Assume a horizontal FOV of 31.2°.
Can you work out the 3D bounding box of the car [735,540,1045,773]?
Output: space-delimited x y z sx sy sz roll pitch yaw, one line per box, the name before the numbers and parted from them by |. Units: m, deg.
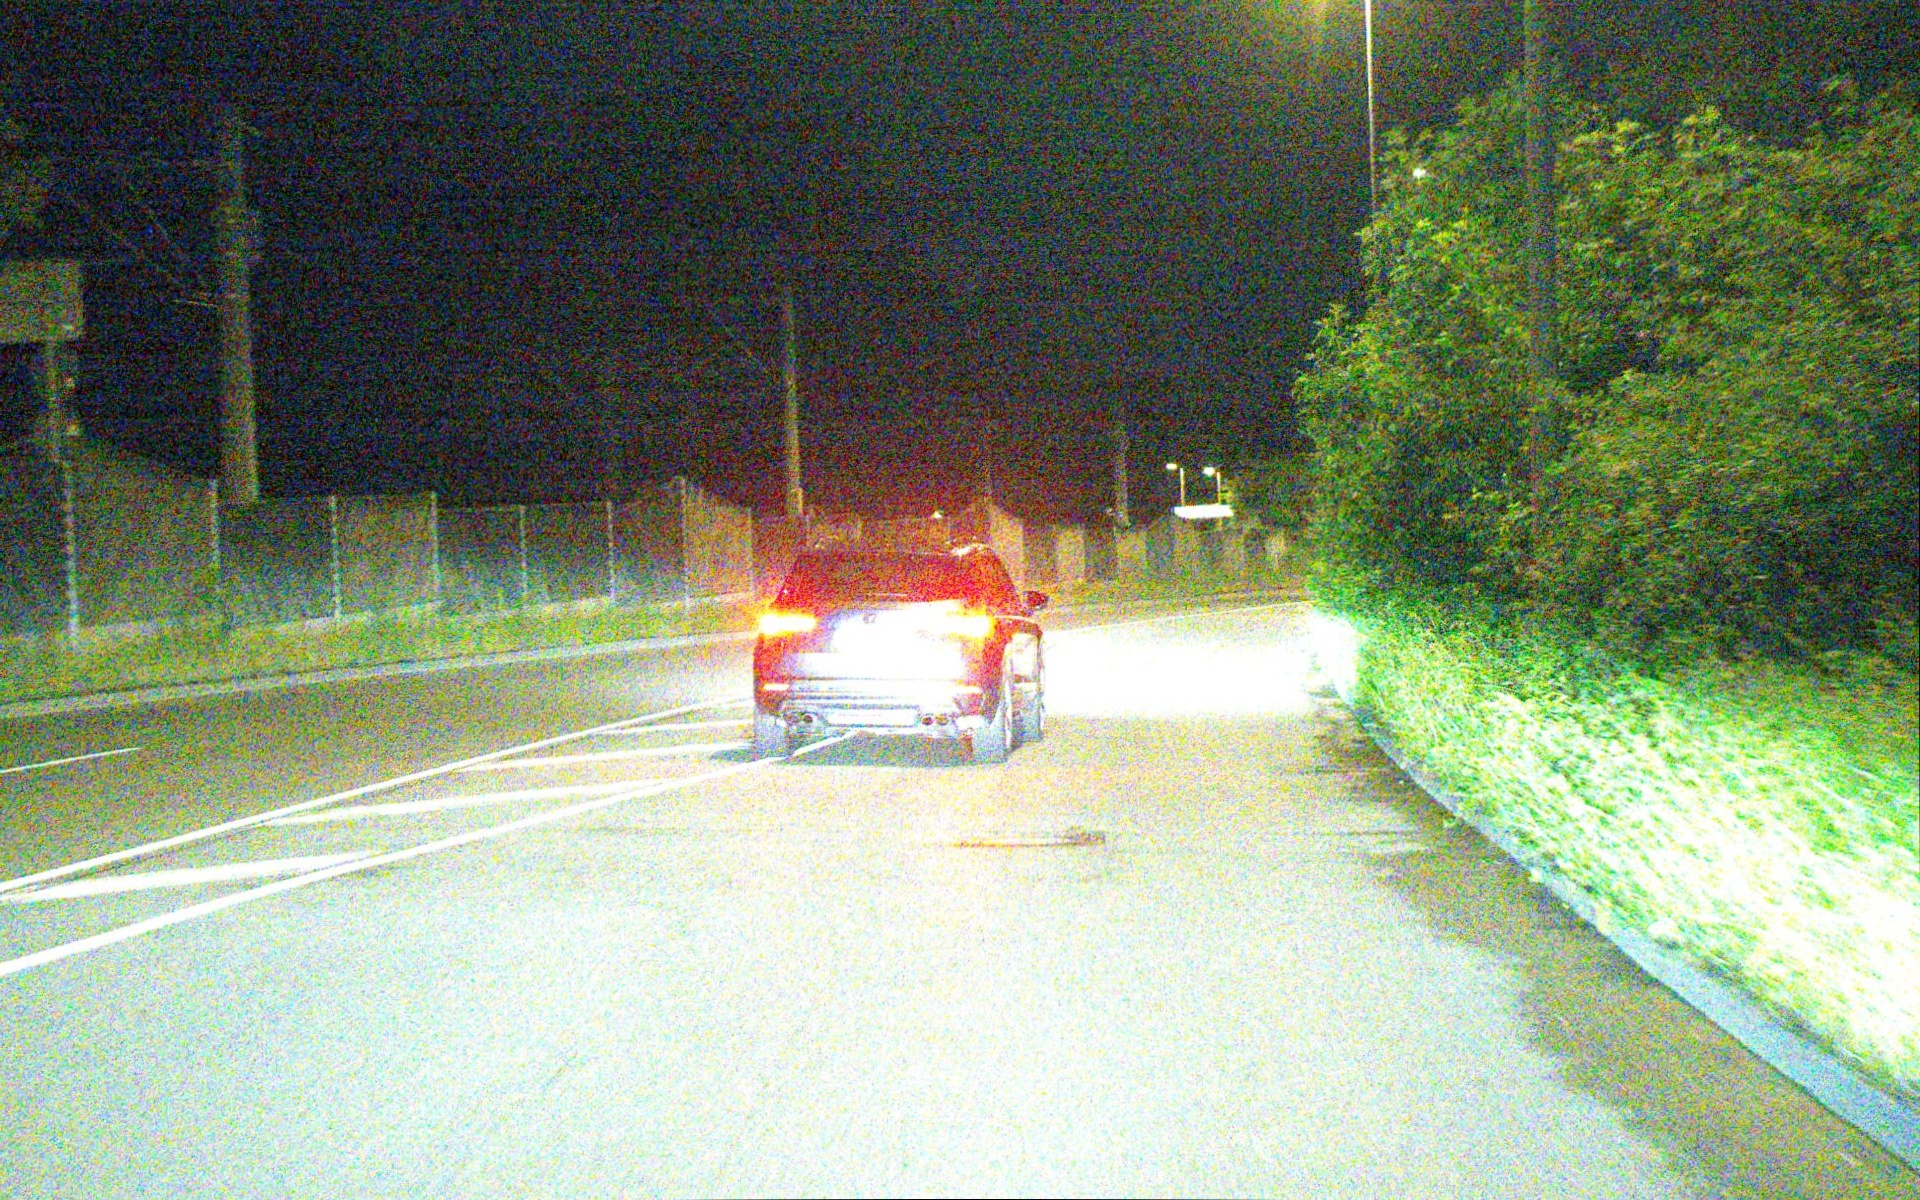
car | -0.435 0.352 25.441 1.815 1.568 3.943 1 1 6
